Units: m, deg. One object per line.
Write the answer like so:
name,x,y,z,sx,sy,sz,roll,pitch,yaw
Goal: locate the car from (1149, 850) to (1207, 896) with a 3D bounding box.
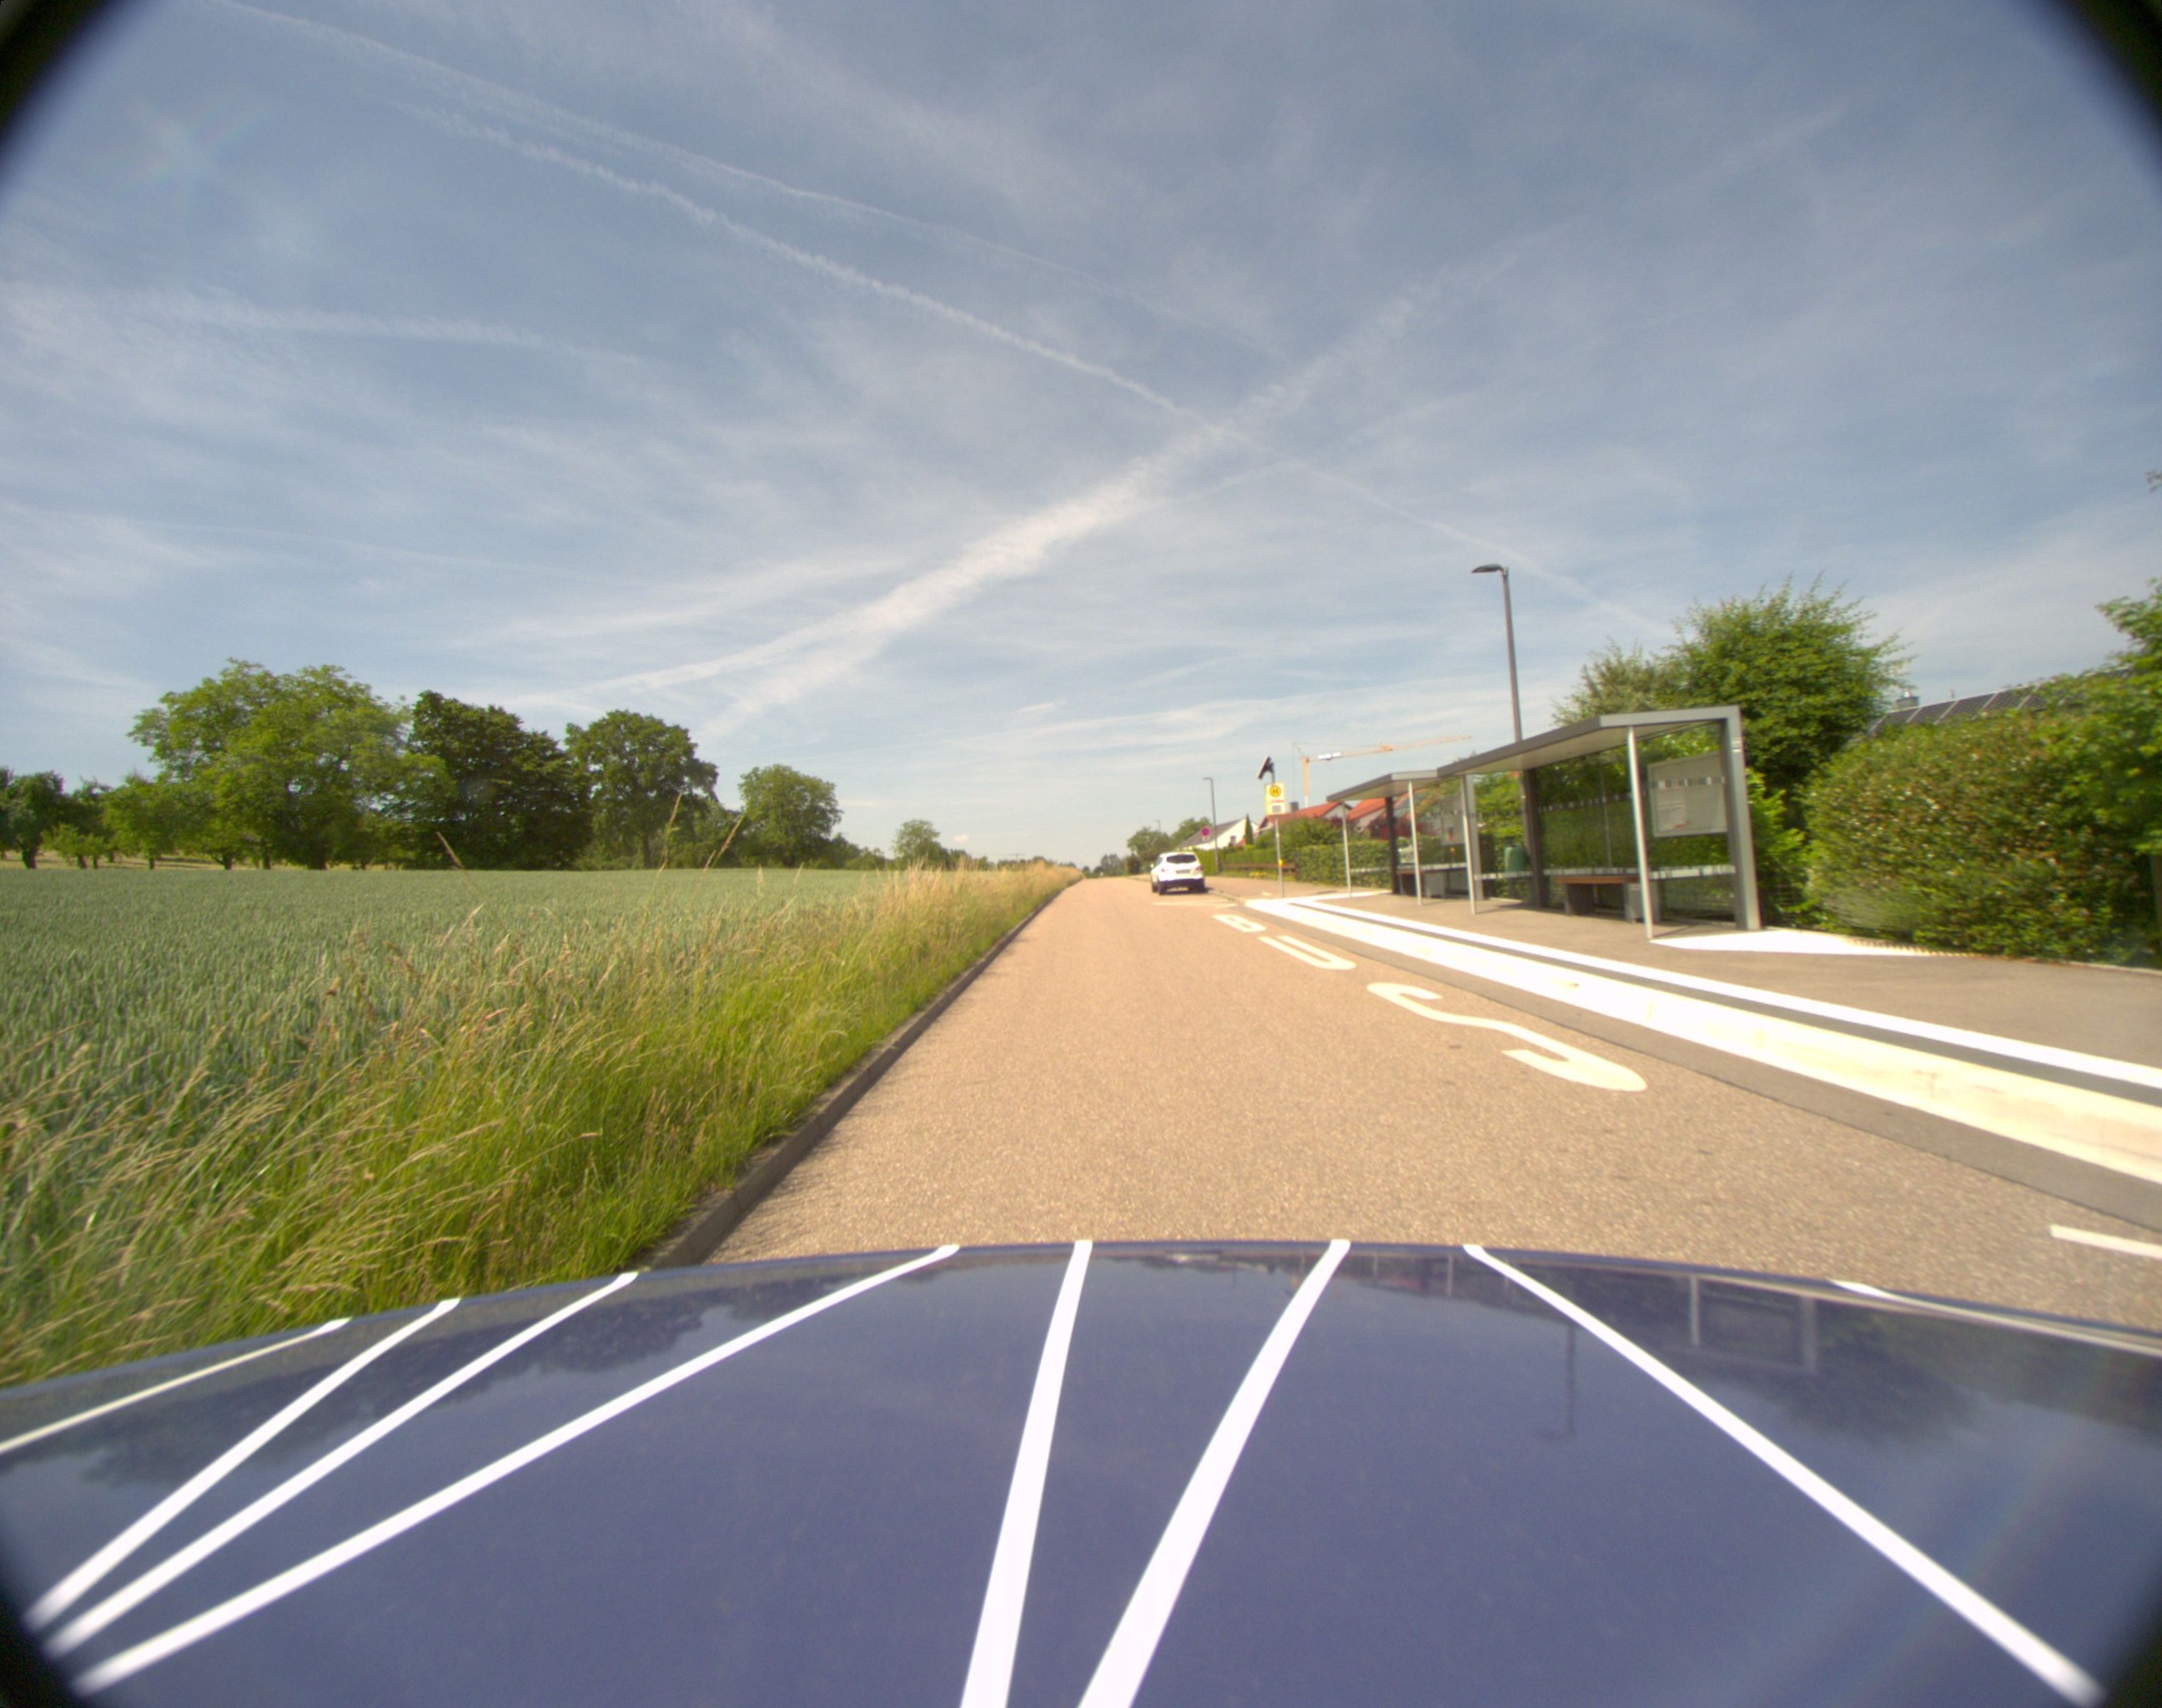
car,3.872,0.730,30.961,1.738,1.623,4.352,-3,0,0
